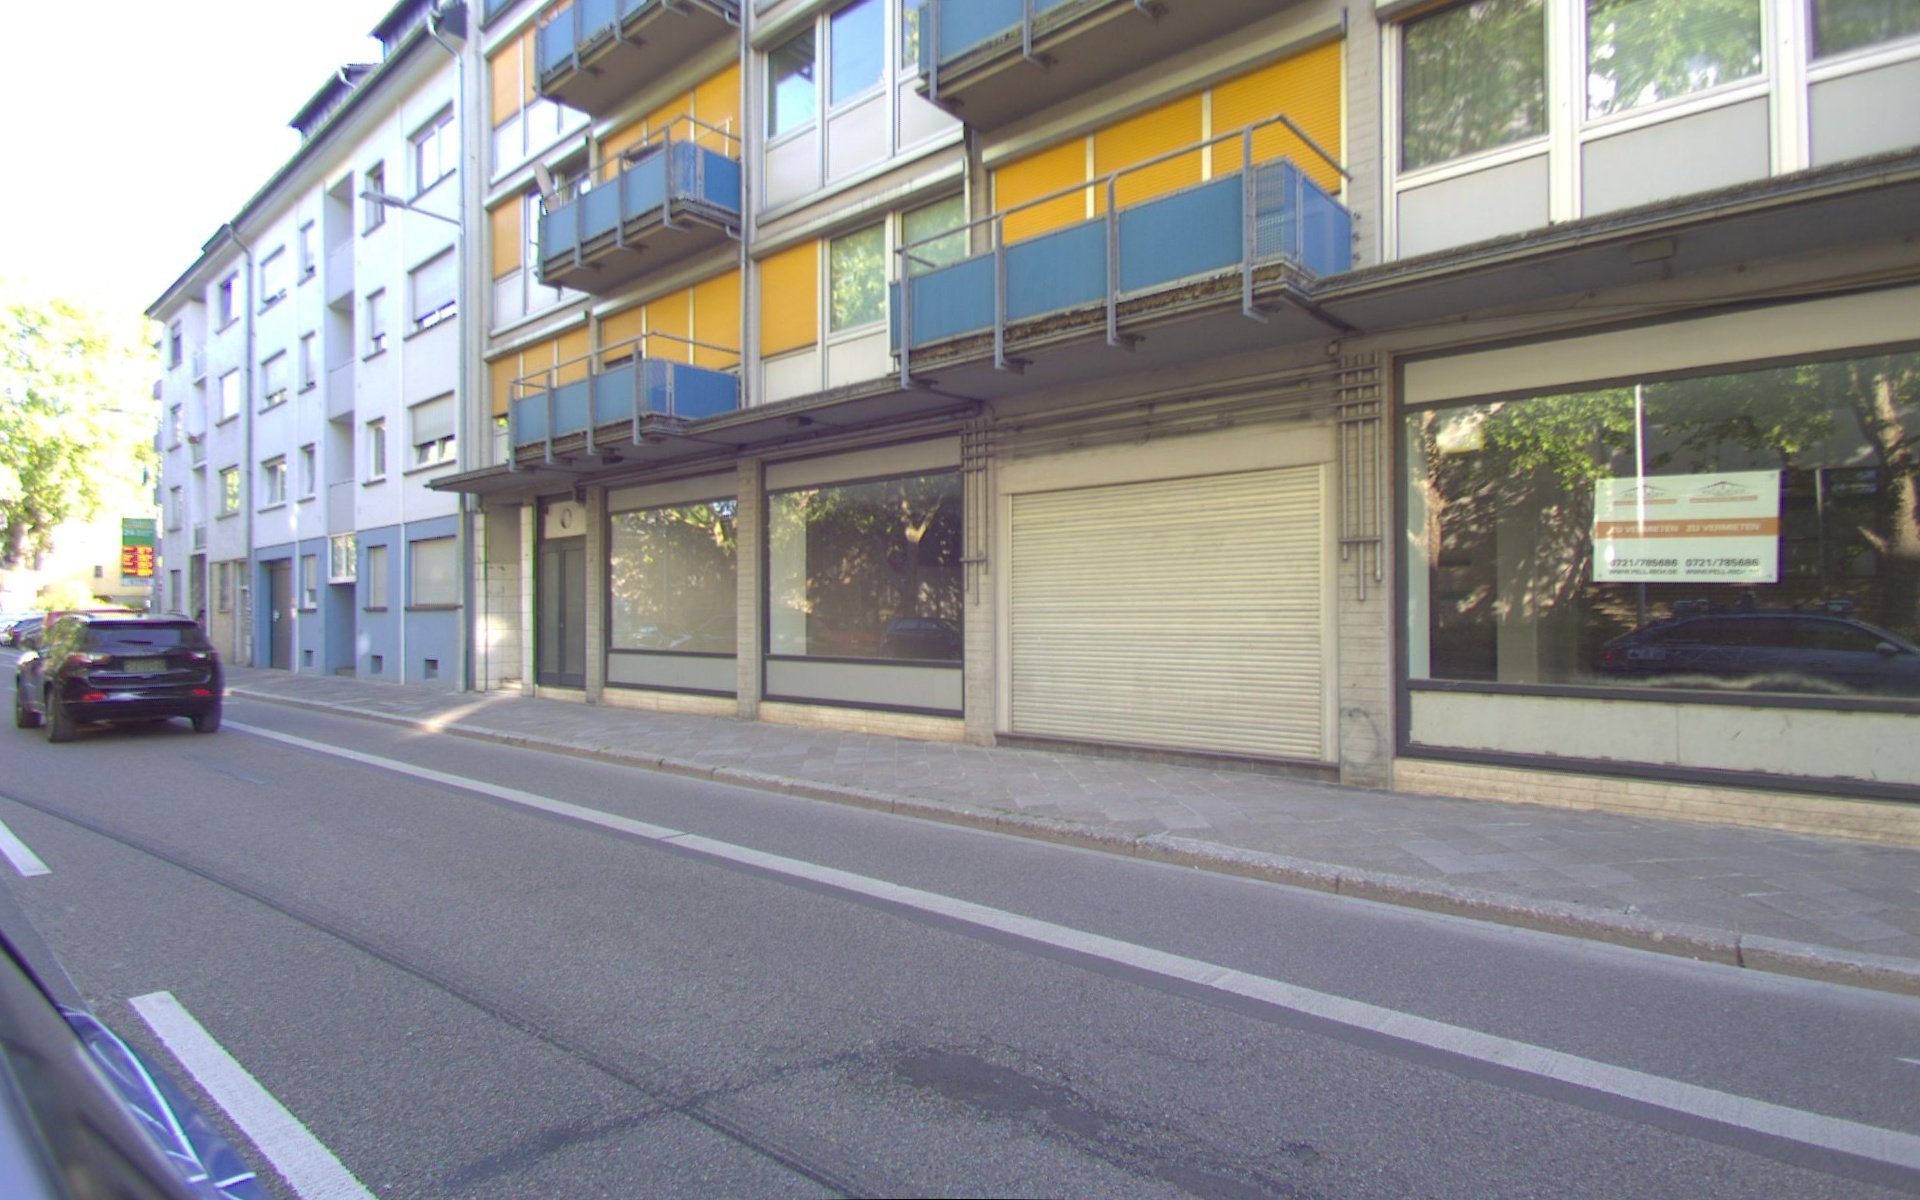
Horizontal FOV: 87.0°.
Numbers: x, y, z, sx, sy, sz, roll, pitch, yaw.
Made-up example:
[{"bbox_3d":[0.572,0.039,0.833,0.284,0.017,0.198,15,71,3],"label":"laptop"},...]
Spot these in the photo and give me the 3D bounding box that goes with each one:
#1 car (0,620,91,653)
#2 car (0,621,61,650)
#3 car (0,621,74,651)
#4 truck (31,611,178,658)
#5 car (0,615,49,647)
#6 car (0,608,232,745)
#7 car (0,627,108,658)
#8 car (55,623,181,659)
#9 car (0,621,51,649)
[{"bbox_3d":[-50.816,1.981,55.961,1.699,1.640,3.952,-1,0,35],"label":"car"},{"bbox_3d":[-55.061,2.073,58.995,1.715,1.594,3.660,-1,0,35],"label":"car"},{"bbox_3d":[-52.877,2.029,57.465,1.656,1.599,3.615,-1,0,35],"label":"car"},{"bbox_3d":[-40.344,1.576,47.829,1.998,2.036,5.024,-1,0,40],"label":"truck"},{"bbox_3d":[-59.702,1.958,63.781,1.693,1.953,3.224,-1,0,43],"label":"car"},{"bbox_3d":[-11.784,0.922,13.965,4.382,1.582,1.831,-1,0,40],"label":"car"},{"bbox_3d":[-43.464,2.017,48.303,1.904,1.282,3.983,-1,0,39],"label":"car"},{"bbox_3d":[-36.585,1.755,44.048,1.780,1.404,3.947,-1,0,39],"label":"car"},{"bbox_3d":[-56.881,2.113,60.387,1.740,1.600,3.685,-1,0,35],"label":"car"}]
